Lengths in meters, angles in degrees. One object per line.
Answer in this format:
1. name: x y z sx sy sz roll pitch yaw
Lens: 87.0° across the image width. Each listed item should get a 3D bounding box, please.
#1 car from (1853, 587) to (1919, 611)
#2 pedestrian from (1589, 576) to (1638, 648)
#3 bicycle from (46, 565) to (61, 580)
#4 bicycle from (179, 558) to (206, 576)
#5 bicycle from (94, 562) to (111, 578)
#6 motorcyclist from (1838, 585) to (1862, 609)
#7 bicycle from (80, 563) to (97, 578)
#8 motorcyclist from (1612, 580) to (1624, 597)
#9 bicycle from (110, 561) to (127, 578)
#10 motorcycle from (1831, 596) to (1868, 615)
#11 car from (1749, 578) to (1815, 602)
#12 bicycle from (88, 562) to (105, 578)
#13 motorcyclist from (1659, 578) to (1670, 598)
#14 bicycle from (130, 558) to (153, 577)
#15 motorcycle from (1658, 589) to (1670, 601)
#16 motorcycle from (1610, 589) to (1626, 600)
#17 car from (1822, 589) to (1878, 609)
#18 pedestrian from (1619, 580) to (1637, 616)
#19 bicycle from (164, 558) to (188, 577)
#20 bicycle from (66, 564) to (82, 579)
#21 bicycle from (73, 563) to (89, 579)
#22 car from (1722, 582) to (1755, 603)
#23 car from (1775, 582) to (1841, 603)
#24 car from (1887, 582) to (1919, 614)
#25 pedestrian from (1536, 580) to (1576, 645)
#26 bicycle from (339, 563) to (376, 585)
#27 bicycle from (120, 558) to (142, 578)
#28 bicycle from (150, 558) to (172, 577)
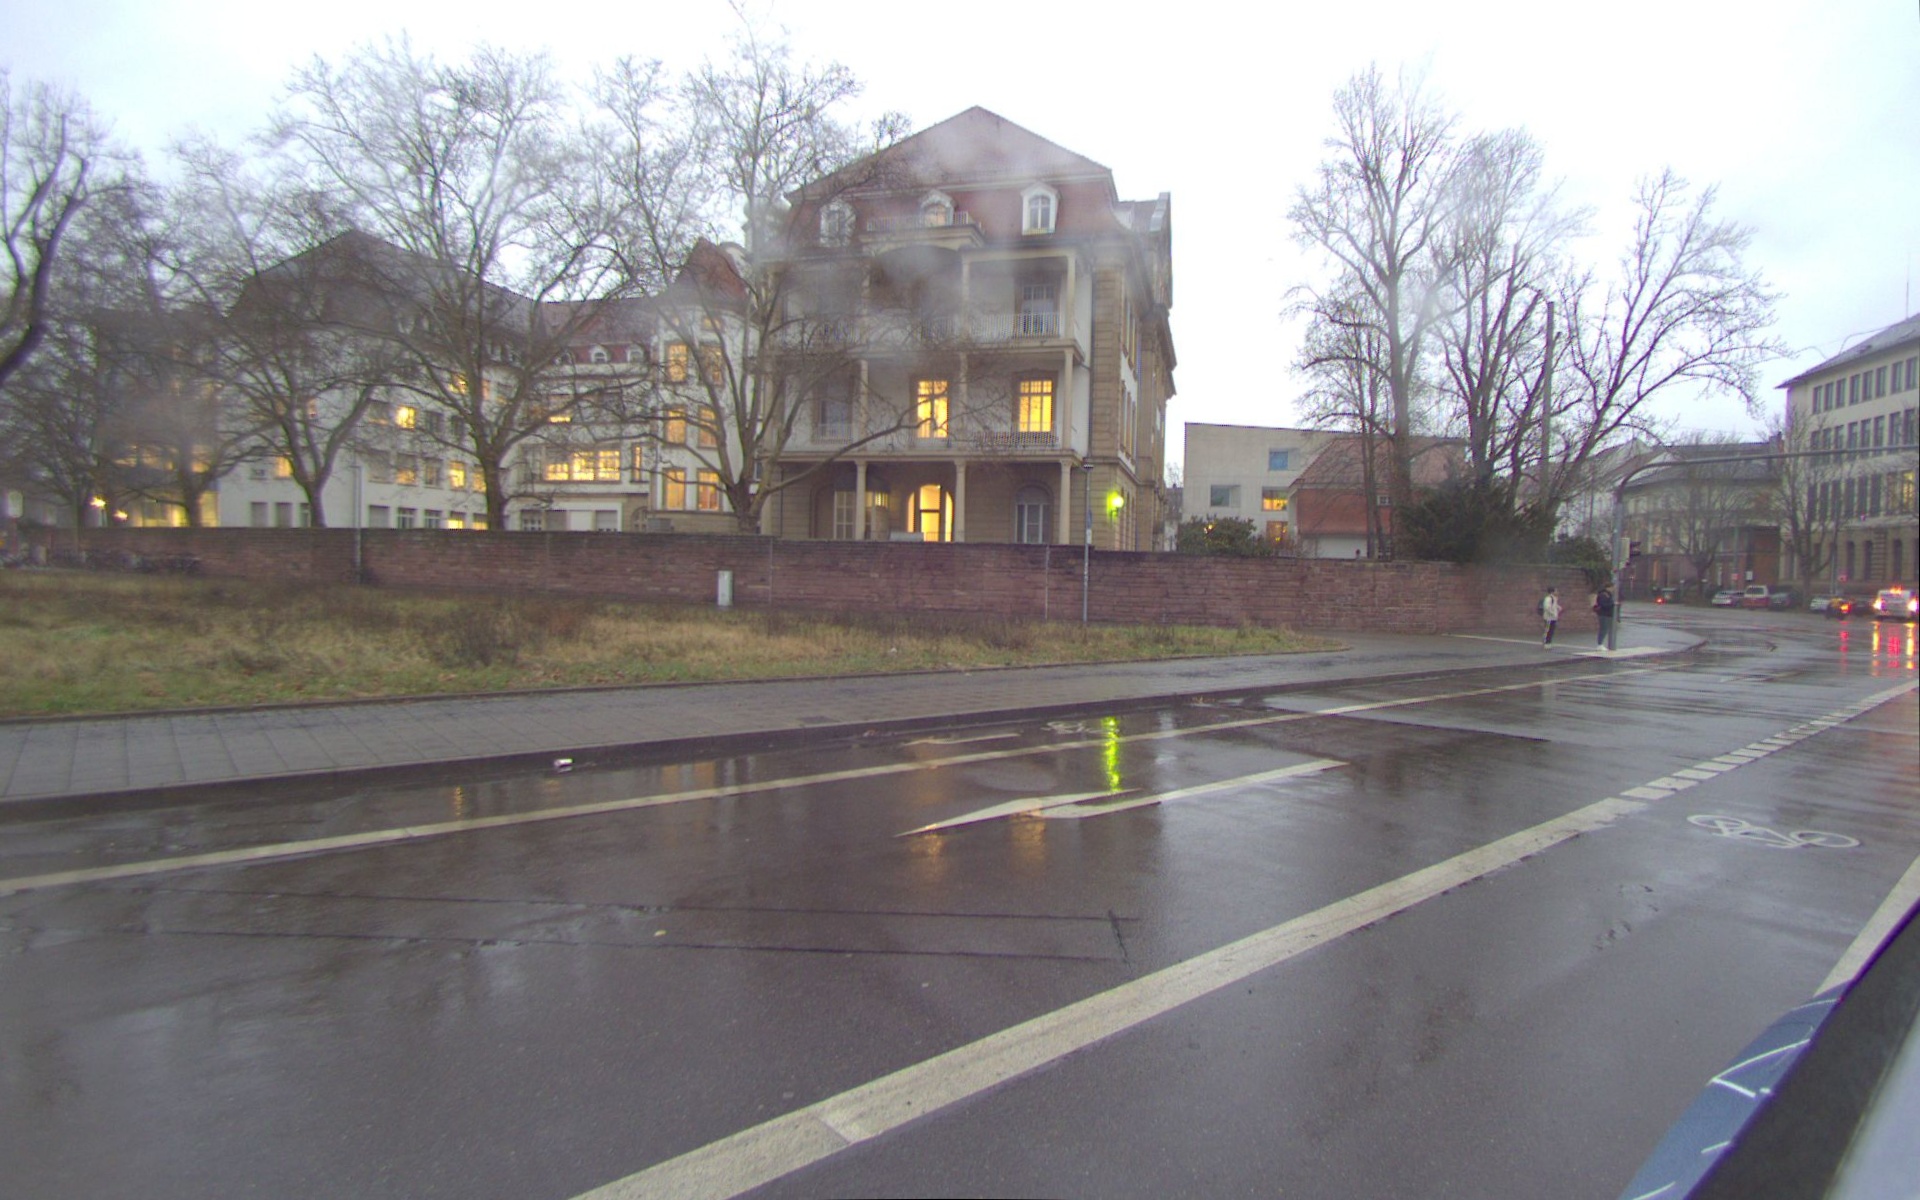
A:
1. car: 61.962 -0.066 67.007 3.927 1.570 1.800 0 0 4
2. pedestrian: 18.273 0.315 28.314 0.996 1.924 0.664 4 3 41
3. bicycle: -51.611 -1.548 57.598 1.522 0.796 0.389 0 0 38
4. bicycle: -34.212 -1.470 45.115 1.399 0.796 0.355 0 0 26
5. bicycle: -43.133 -1.497 50.902 1.522 0.796 0.389 0 0 38
6. motorcyclist: 53.021 -0.191 60.298 0.691 1.400 0.863 2 2 15
7. bicycle: -45.444 -1.534 52.747 1.522 0.796 0.389 0 0 38
8. motorcyclist: 65.425 -1.174 100.590 0.650 1.619 0.835 2 2 14
9. bicycle: -41.476 -1.478 49.882 1.599 0.796 0.388 0 0 41
10. motorcycle: 53.015 0.320 60.358 0.703 1.067 2.158 3 2 15
11. car: 64.981 -0.797 80.024 3.916 1.924 2.052 0 0 -13
12. bicycle: -44.180 -1.531 51.773 1.522 0.796 0.389 0 0 38
13. motorcyclist: 62.155 -1.080 89.330 0.706 1.738 0.733 3 2 33
14. bicycle: -38.628 -1.509 47.773 1.519 0.869 0.389 0 0 33
15. motorcycle: 62.217 -0.452 89.464 0.721 1.067 2.142 3 2 33
16. motorcycle: 65.418 -0.577 100.604 0.650 1.067 2.159 2 2 14
17. car: 63.601 -0.087 72.301 3.568 1.322 1.712 -1 0 -25
18. pedestrian: 32.032 -0.117 48.538 0.610 1.674 0.565 3 2 29
19. bicycle: -35.552 -1.471 45.865 1.519 0.796 0.389 0 0 33
20. bicycle: -47.897 -1.540 54.680 1.522 0.796 0.389 0 0 38
21. bicycle: -46.674 -1.537 53.725 1.522 0.796 0.389 0 0 38
22. car: 66.480 -0.650 86.389 1.992 1.690 3.940 0 1 42
23. car: 64.699 -0.591 77.227 3.916 1.570 1.805 0 0 -13
24. car: 58.108 -0.131 61.232 3.920 1.868 1.886 -1 0 -30
25. pedestrian: 16.582 0.326 28.170 0.795 1.744 0.665 3 3 39
26. bicycle: -23.387 -0.991 39.276 1.366 0.835 0.392 0 0 14
27. bicycle: -39.910 -1.541 48.727 1.519 0.928 0.389 0 0 33
28. bicycle: -37.033 -1.499 46.890 1.480 0.849 0.346 0 0 32
